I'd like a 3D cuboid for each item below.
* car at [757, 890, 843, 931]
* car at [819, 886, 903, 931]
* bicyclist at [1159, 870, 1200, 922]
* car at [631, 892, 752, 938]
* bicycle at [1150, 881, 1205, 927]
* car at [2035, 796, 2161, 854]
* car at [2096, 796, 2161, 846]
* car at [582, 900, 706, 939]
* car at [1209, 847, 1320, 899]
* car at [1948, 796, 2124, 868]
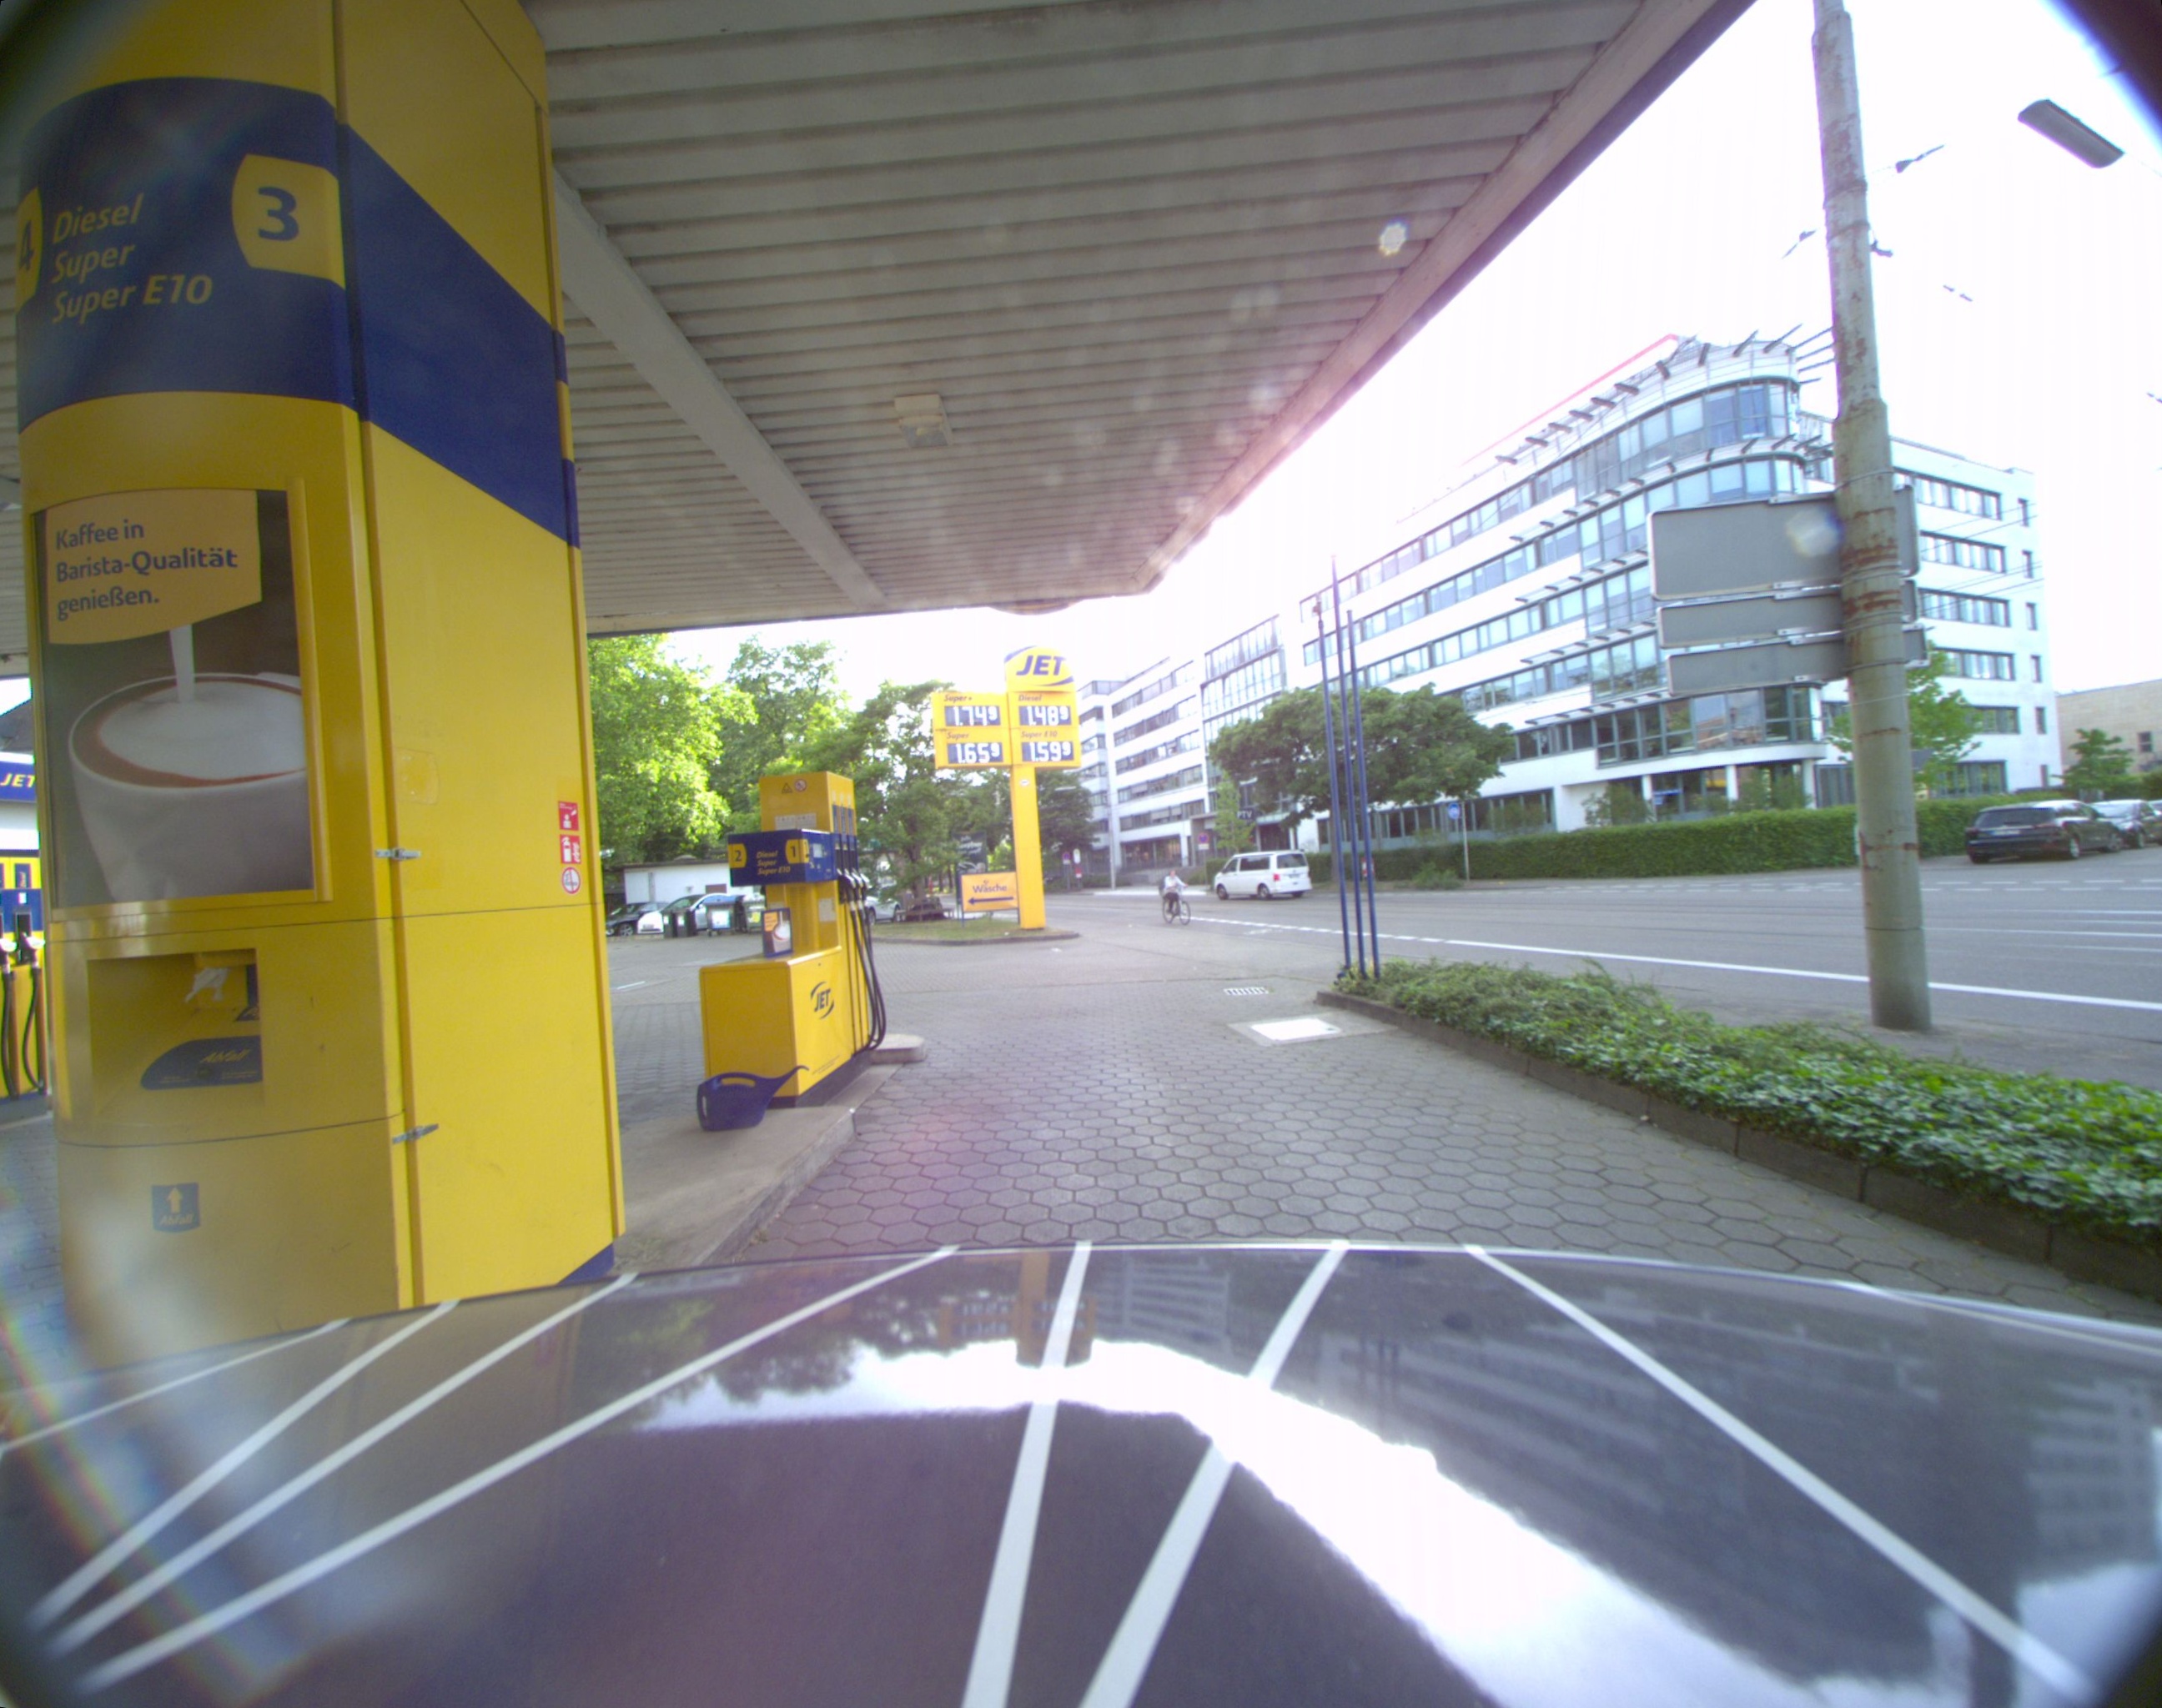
[{"bbox_3d":[-11.807,2.329,32.249,1.739,1.500,4.004,-4,-2,6],"label":"car"},{"bbox_3d":[-8.692,2.122,30.387,1.739,1.500,4.003,-4,-2,6],"label":"car"},{"bbox_3d":[2.949,1.259,22.855,0.736,1.451,0.915,-6,0,-21],"label":"bicyclist"},{"bbox_3d":[-15.365,2.389,30.261,1.785,1.514,4.229,-4,-3,17],"label":"car"},{"bbox_3d":[2.892,1.504,23.031,0.736,1.250,1.936,-6,0,-21],"label":"bicycle"},{"bbox_3d":[32.486,-0.933,24.046,4.109,1.544,1.786,-4,-1,-23],"label":"car"},{"bbox_3d":[37.145,-1.226,26.084,4.109,1.544,1.786,-4,-1,-23],"label":"car"},{"bbox_3d":[-17.751,2.637,31.077,1.745,1.269,4.230,-5,-3,19],"label":"car"},{"bbox_3d":[7.754,0.862,32.685,2.002,1.956,4.881,-3,-1,-23],"label":"car"},{"bbox_3d":[27.371,-0.641,21.775,4.438,1.603,1.976,-5,-1,-23],"label":"car"}]
